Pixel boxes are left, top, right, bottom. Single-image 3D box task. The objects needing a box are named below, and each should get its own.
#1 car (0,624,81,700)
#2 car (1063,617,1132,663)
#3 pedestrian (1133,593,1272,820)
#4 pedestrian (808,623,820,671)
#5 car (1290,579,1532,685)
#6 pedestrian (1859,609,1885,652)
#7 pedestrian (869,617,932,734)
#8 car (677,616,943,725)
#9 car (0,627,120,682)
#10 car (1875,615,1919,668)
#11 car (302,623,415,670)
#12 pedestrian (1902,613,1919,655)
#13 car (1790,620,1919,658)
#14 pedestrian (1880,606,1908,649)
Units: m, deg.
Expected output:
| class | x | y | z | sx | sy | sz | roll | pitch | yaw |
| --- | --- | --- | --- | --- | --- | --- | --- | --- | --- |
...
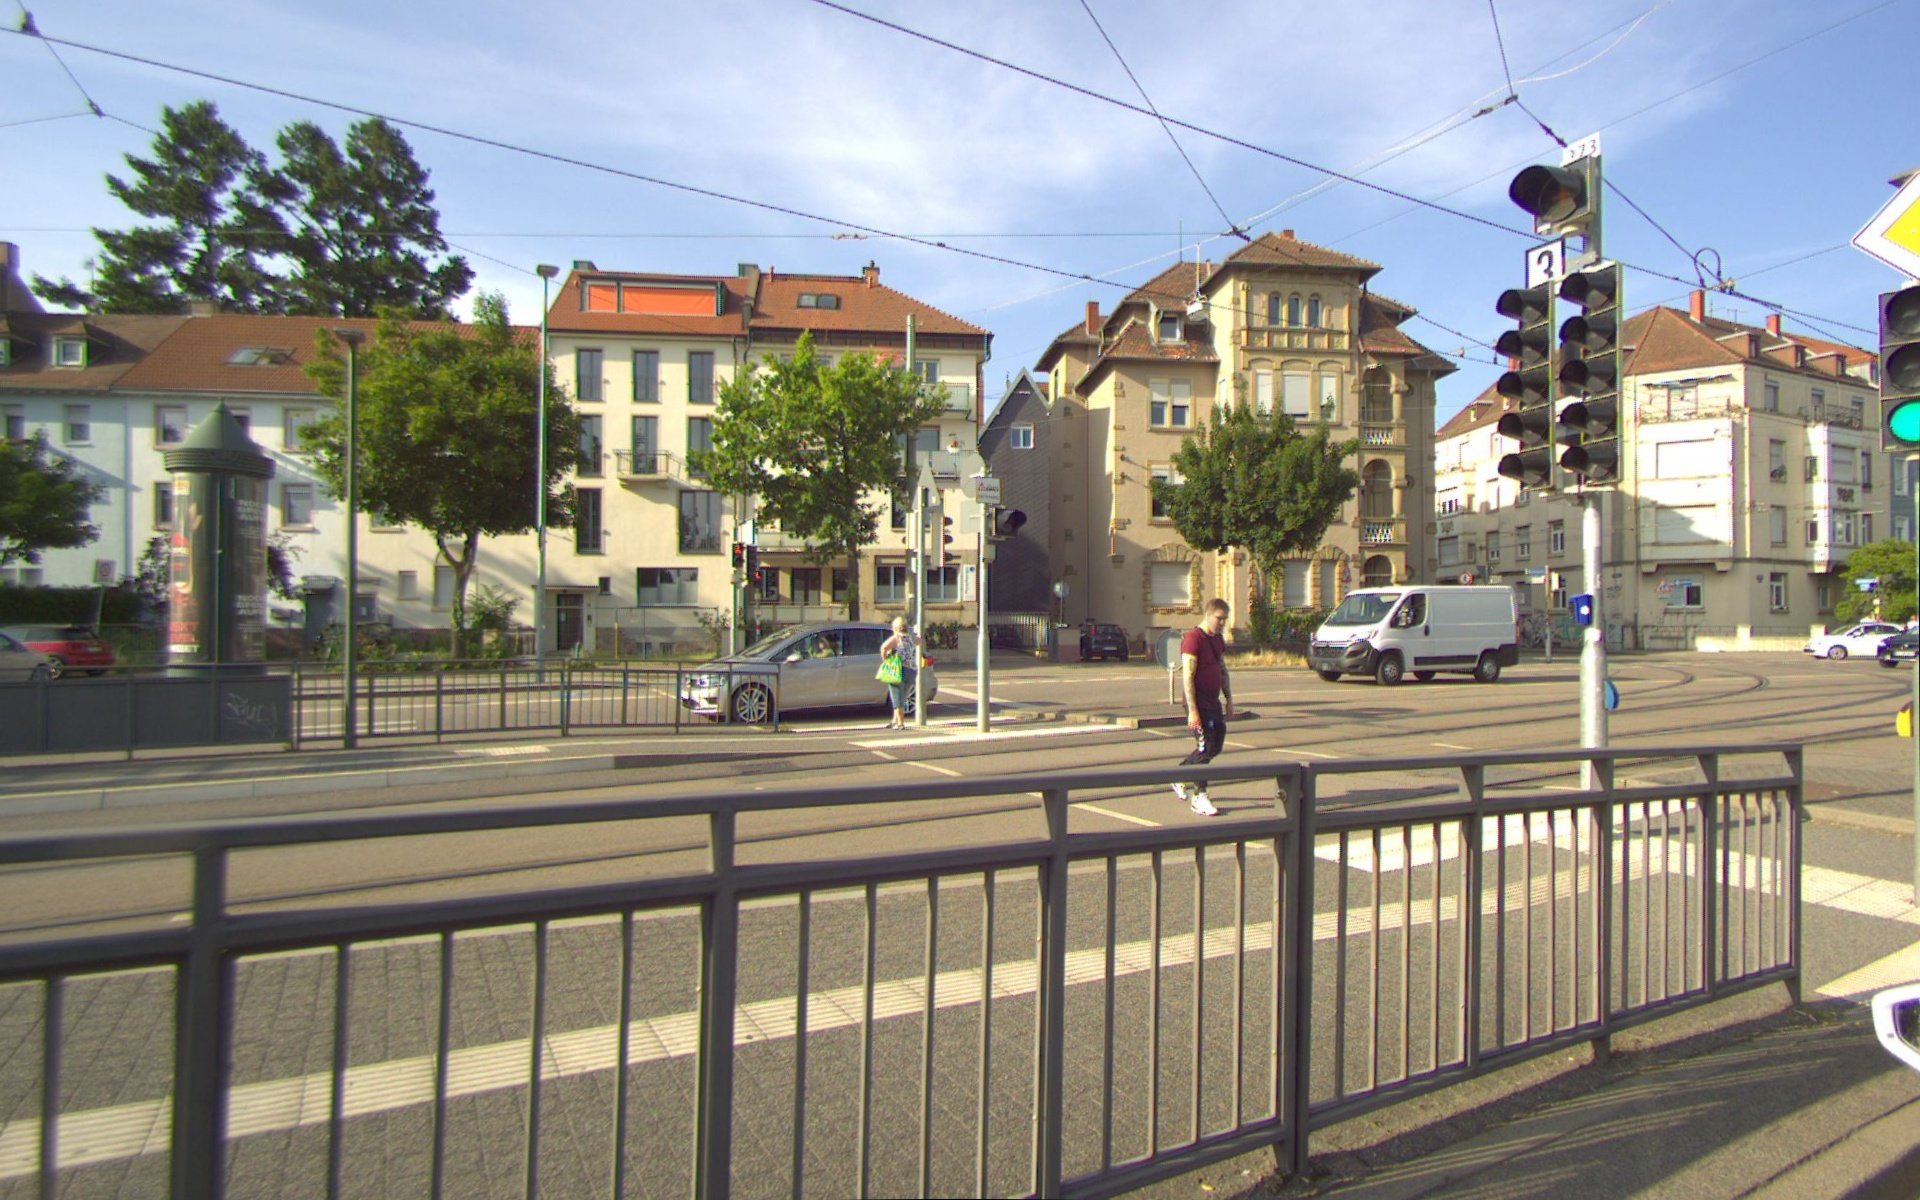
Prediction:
| class | x | y | z | sx | sy | sz | roll | pitch | yaw |
| --- | --- | --- | --- | --- | --- | --- | --- | --- | --- |
| car | -19.123 | 1.180 | 19.111 | 1.740 | 1.447 | 3.994 | 0 | -1 | -9 |
| car | 5.197 | 1.497 | 38.427 | 1.742 | 1.653 | 3.997 | 0 | -1 | -5 |
| pedestrian | 1.917 | 0.805 | 8.021 | 0.663 | 1.692 | 0.877 | 0 | -1 | -28 |
| pedestrian | -4.783 | 1.537 | 32.927 | 0.382 | 1.536 | 0.405 | 0 | -1 | -4 |
| car | 10.472 | 0.710 | 23.345 | 5.176 | 2.269 | 2.173 | 0 | -1 | -22 |
| pedestrian | 40.730 | 1.372 | 44.881 | 0.618 | 1.906 | 0.656 | 0 | -1 | -26 |
| pedestrian | -0.845 | 1.051 | 14.248 | 0.708 | 1.610 | 0.586 | 1 | -1 | -34 |
| car | -2.463 | 1.085 | 16.738 | 4.075 | 1.546 | 1.669 | -1 | -1 | -30 |
| car | -25.334 | 1.461 | 27.146 | 3.793 | 1.445 | 1.548 | 0 | -1 | -7 |
| car | 30.715 | 1.228 | 31.153 | 4.679 | 1.514 | 1.762 | -1 | -1 | -25 |
| car | -21.144 | 1.607 | 35.521 | 1.821 | 1.578 | 3.998 | 0 | -1 | -5 |
| pedestrian | 43.119 | 1.531 | 45.406 | 0.618 | 1.906 | 0.582 | 0 | -1 | -26 |
| car | 36.198 | 1.555 | 40.404 | 3.922 | 1.476 | 1.800 | -1 | -1 | 21 |
| pedestrian | 41.150 | 1.229 | 44.249 | 0.640 | 1.872 | 0.673 | 0 | -1 | -23 |
